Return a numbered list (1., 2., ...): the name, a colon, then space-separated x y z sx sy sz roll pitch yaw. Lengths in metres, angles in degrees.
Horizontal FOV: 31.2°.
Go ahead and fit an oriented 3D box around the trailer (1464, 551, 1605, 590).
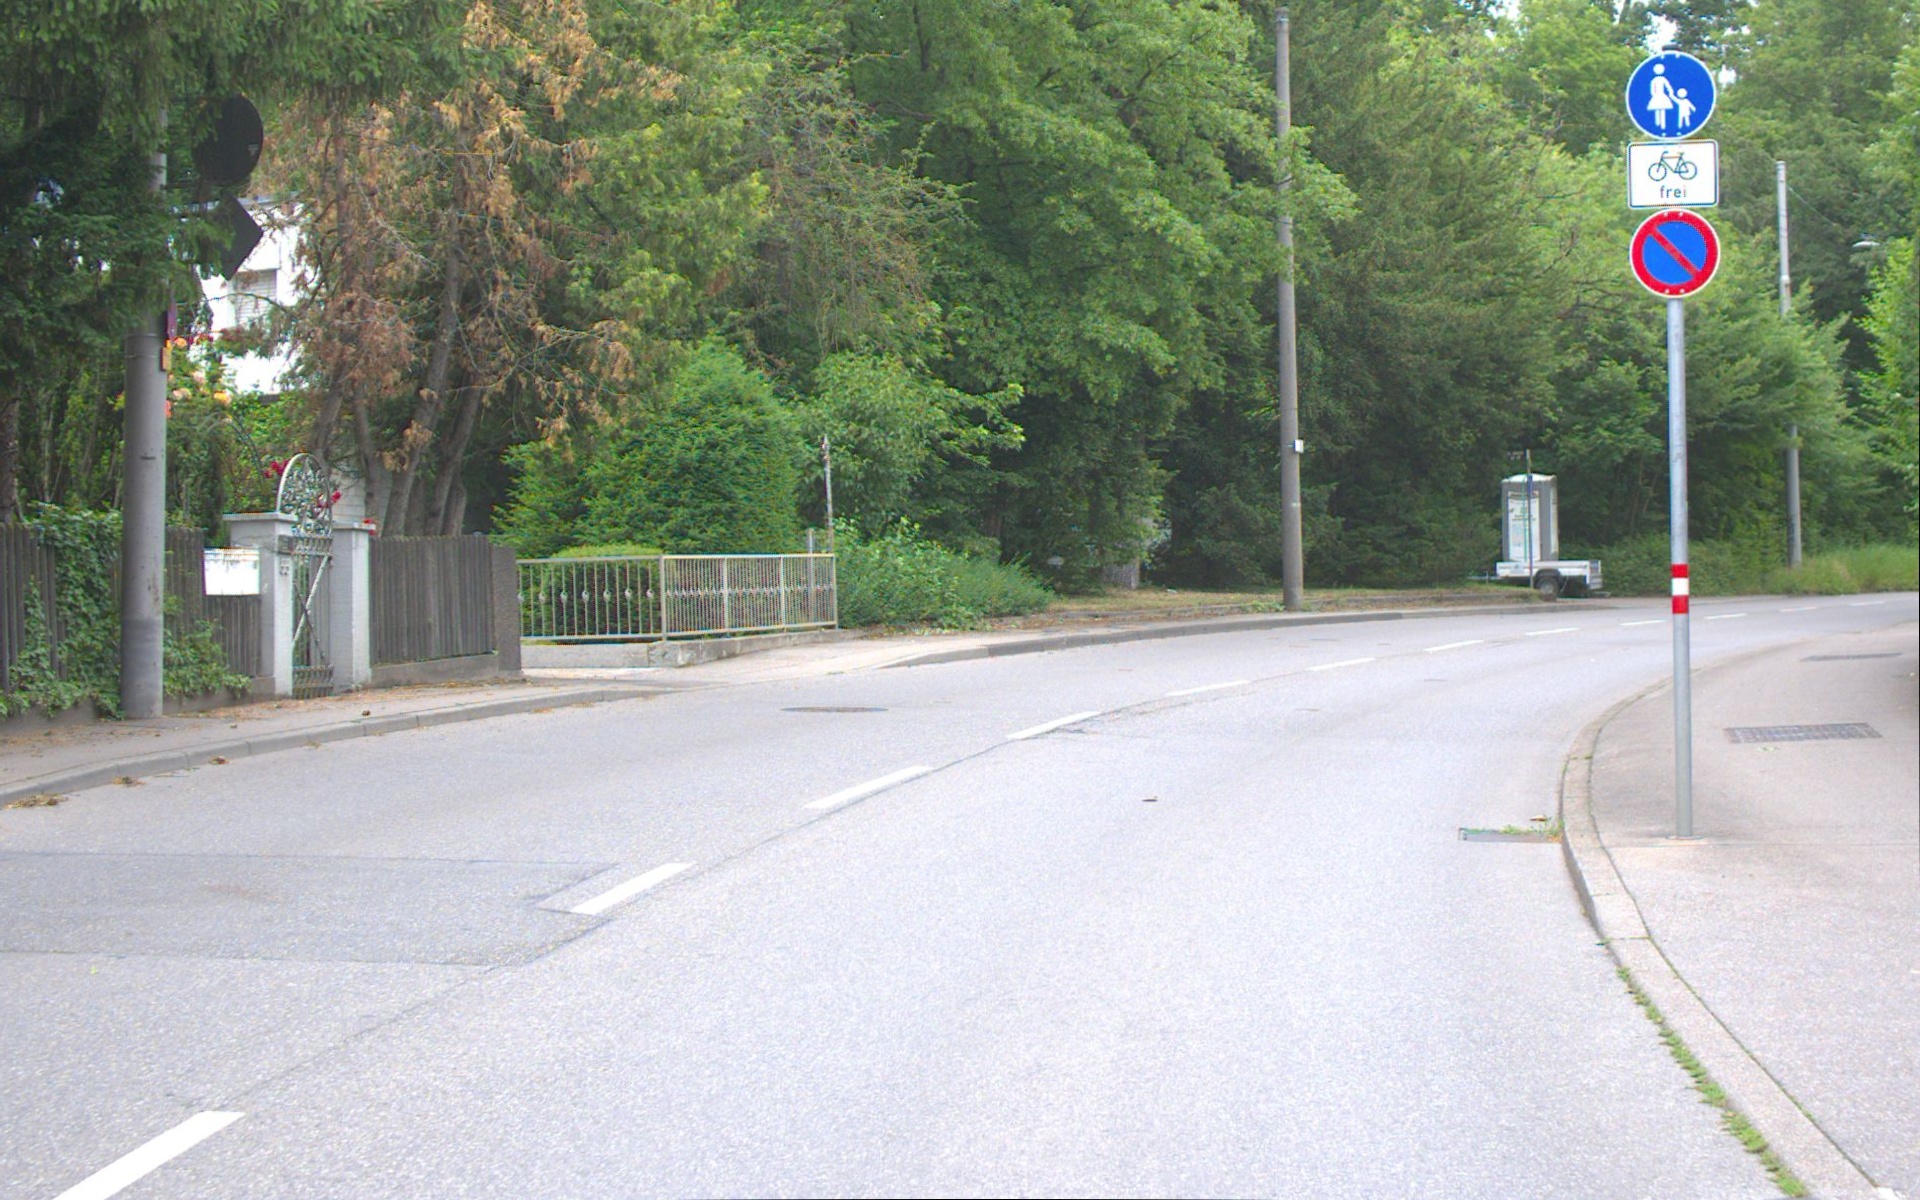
1. trailer: 12.828 -0.656 76.746 2.957 0.826 1.475 -1 0 16
